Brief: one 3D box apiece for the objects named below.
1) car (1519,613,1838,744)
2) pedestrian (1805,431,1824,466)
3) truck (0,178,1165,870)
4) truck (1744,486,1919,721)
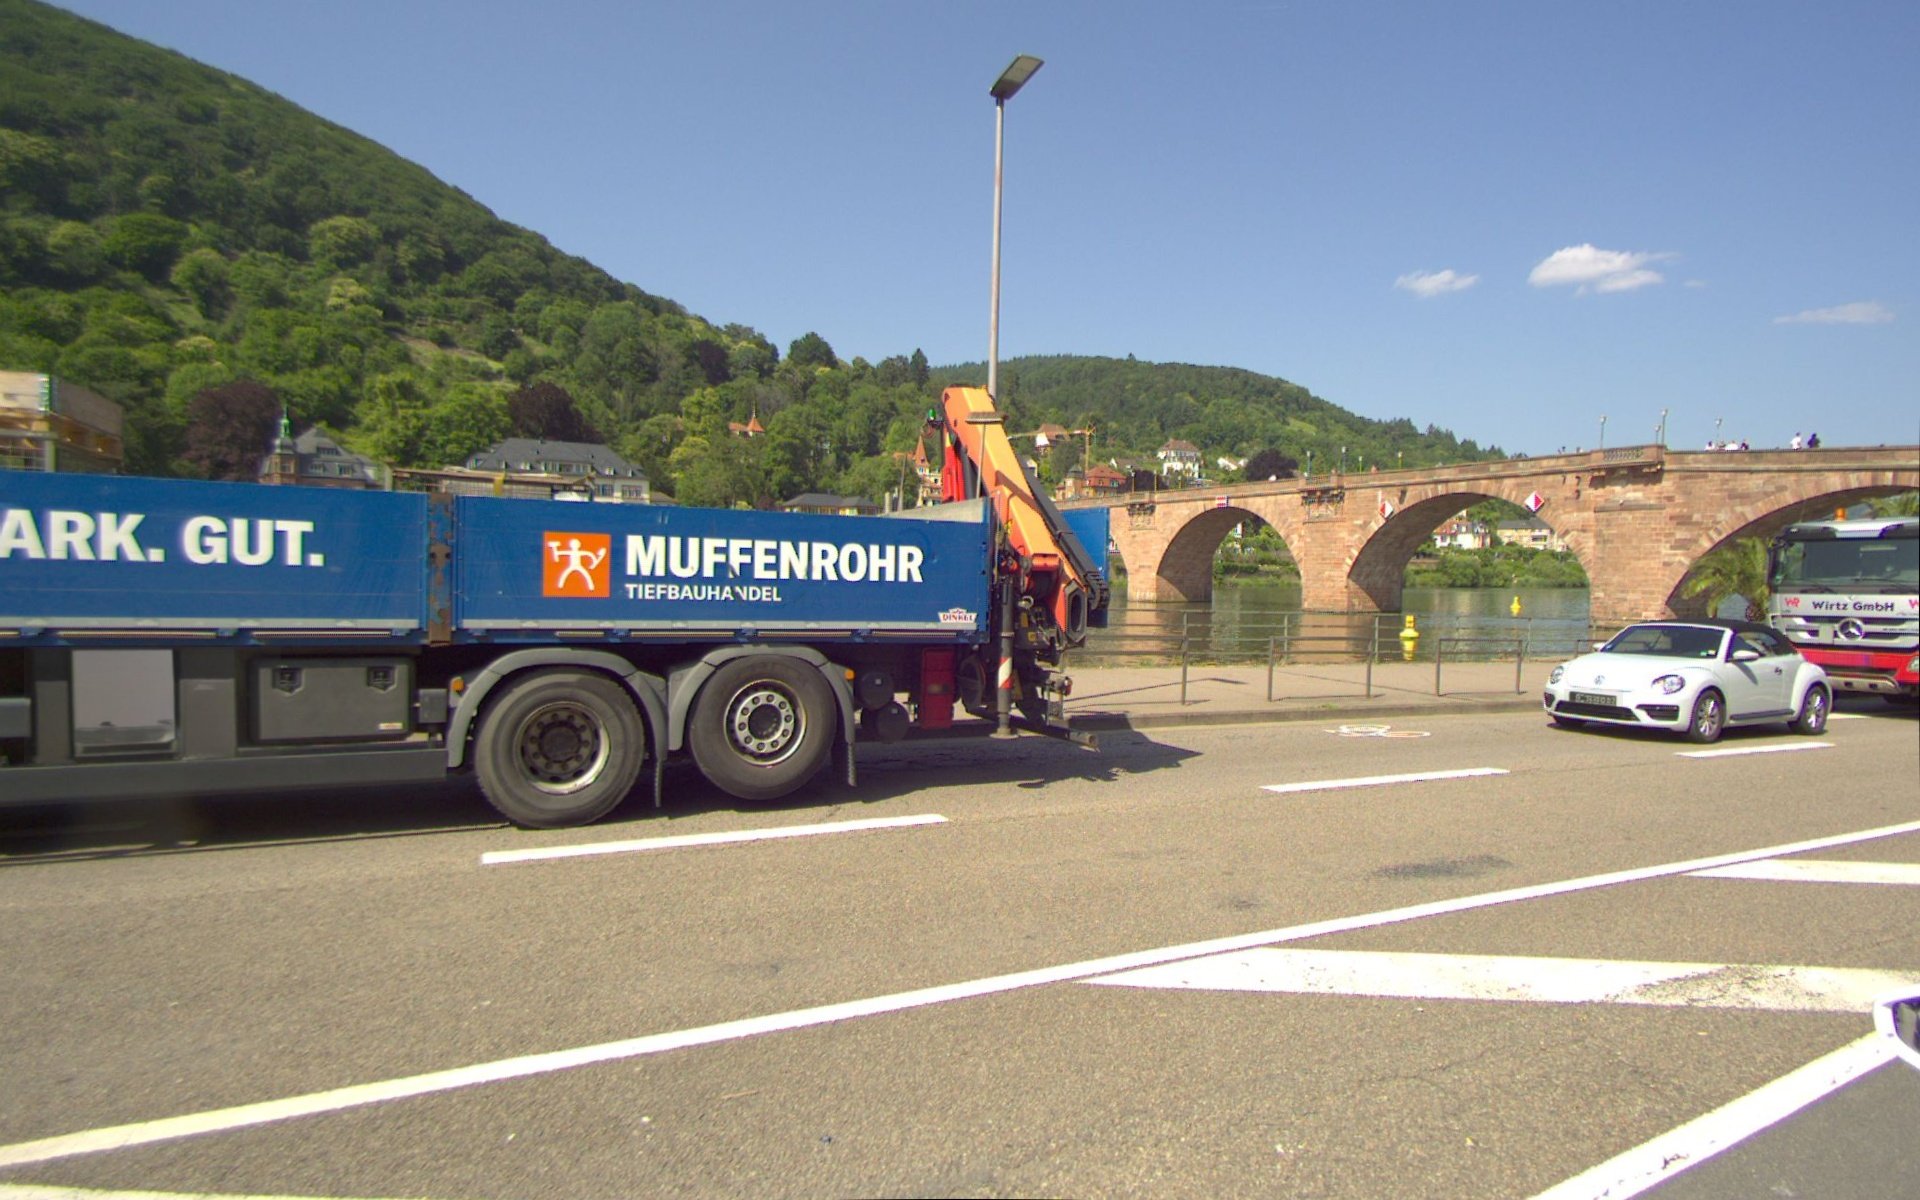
[{"bbox_3d":[9.478,0.956,13.229,3.945,1.463,1.771,1,0,-27],"label":"car"},{"bbox_3d":[53.150,-9.410,62.488,0.619,2.041,0.689,0,1,-33],"label":"pedestrian"},{"bbox_3d":[-3.843,-0.375,7.079,10.956,3.523,2.634,1,1,-25],"label":"truck"},{"bbox_3d":[17.336,0.138,17.603,7.769,3.503,2.633,1,-1,-27],"label":"truck"}]
